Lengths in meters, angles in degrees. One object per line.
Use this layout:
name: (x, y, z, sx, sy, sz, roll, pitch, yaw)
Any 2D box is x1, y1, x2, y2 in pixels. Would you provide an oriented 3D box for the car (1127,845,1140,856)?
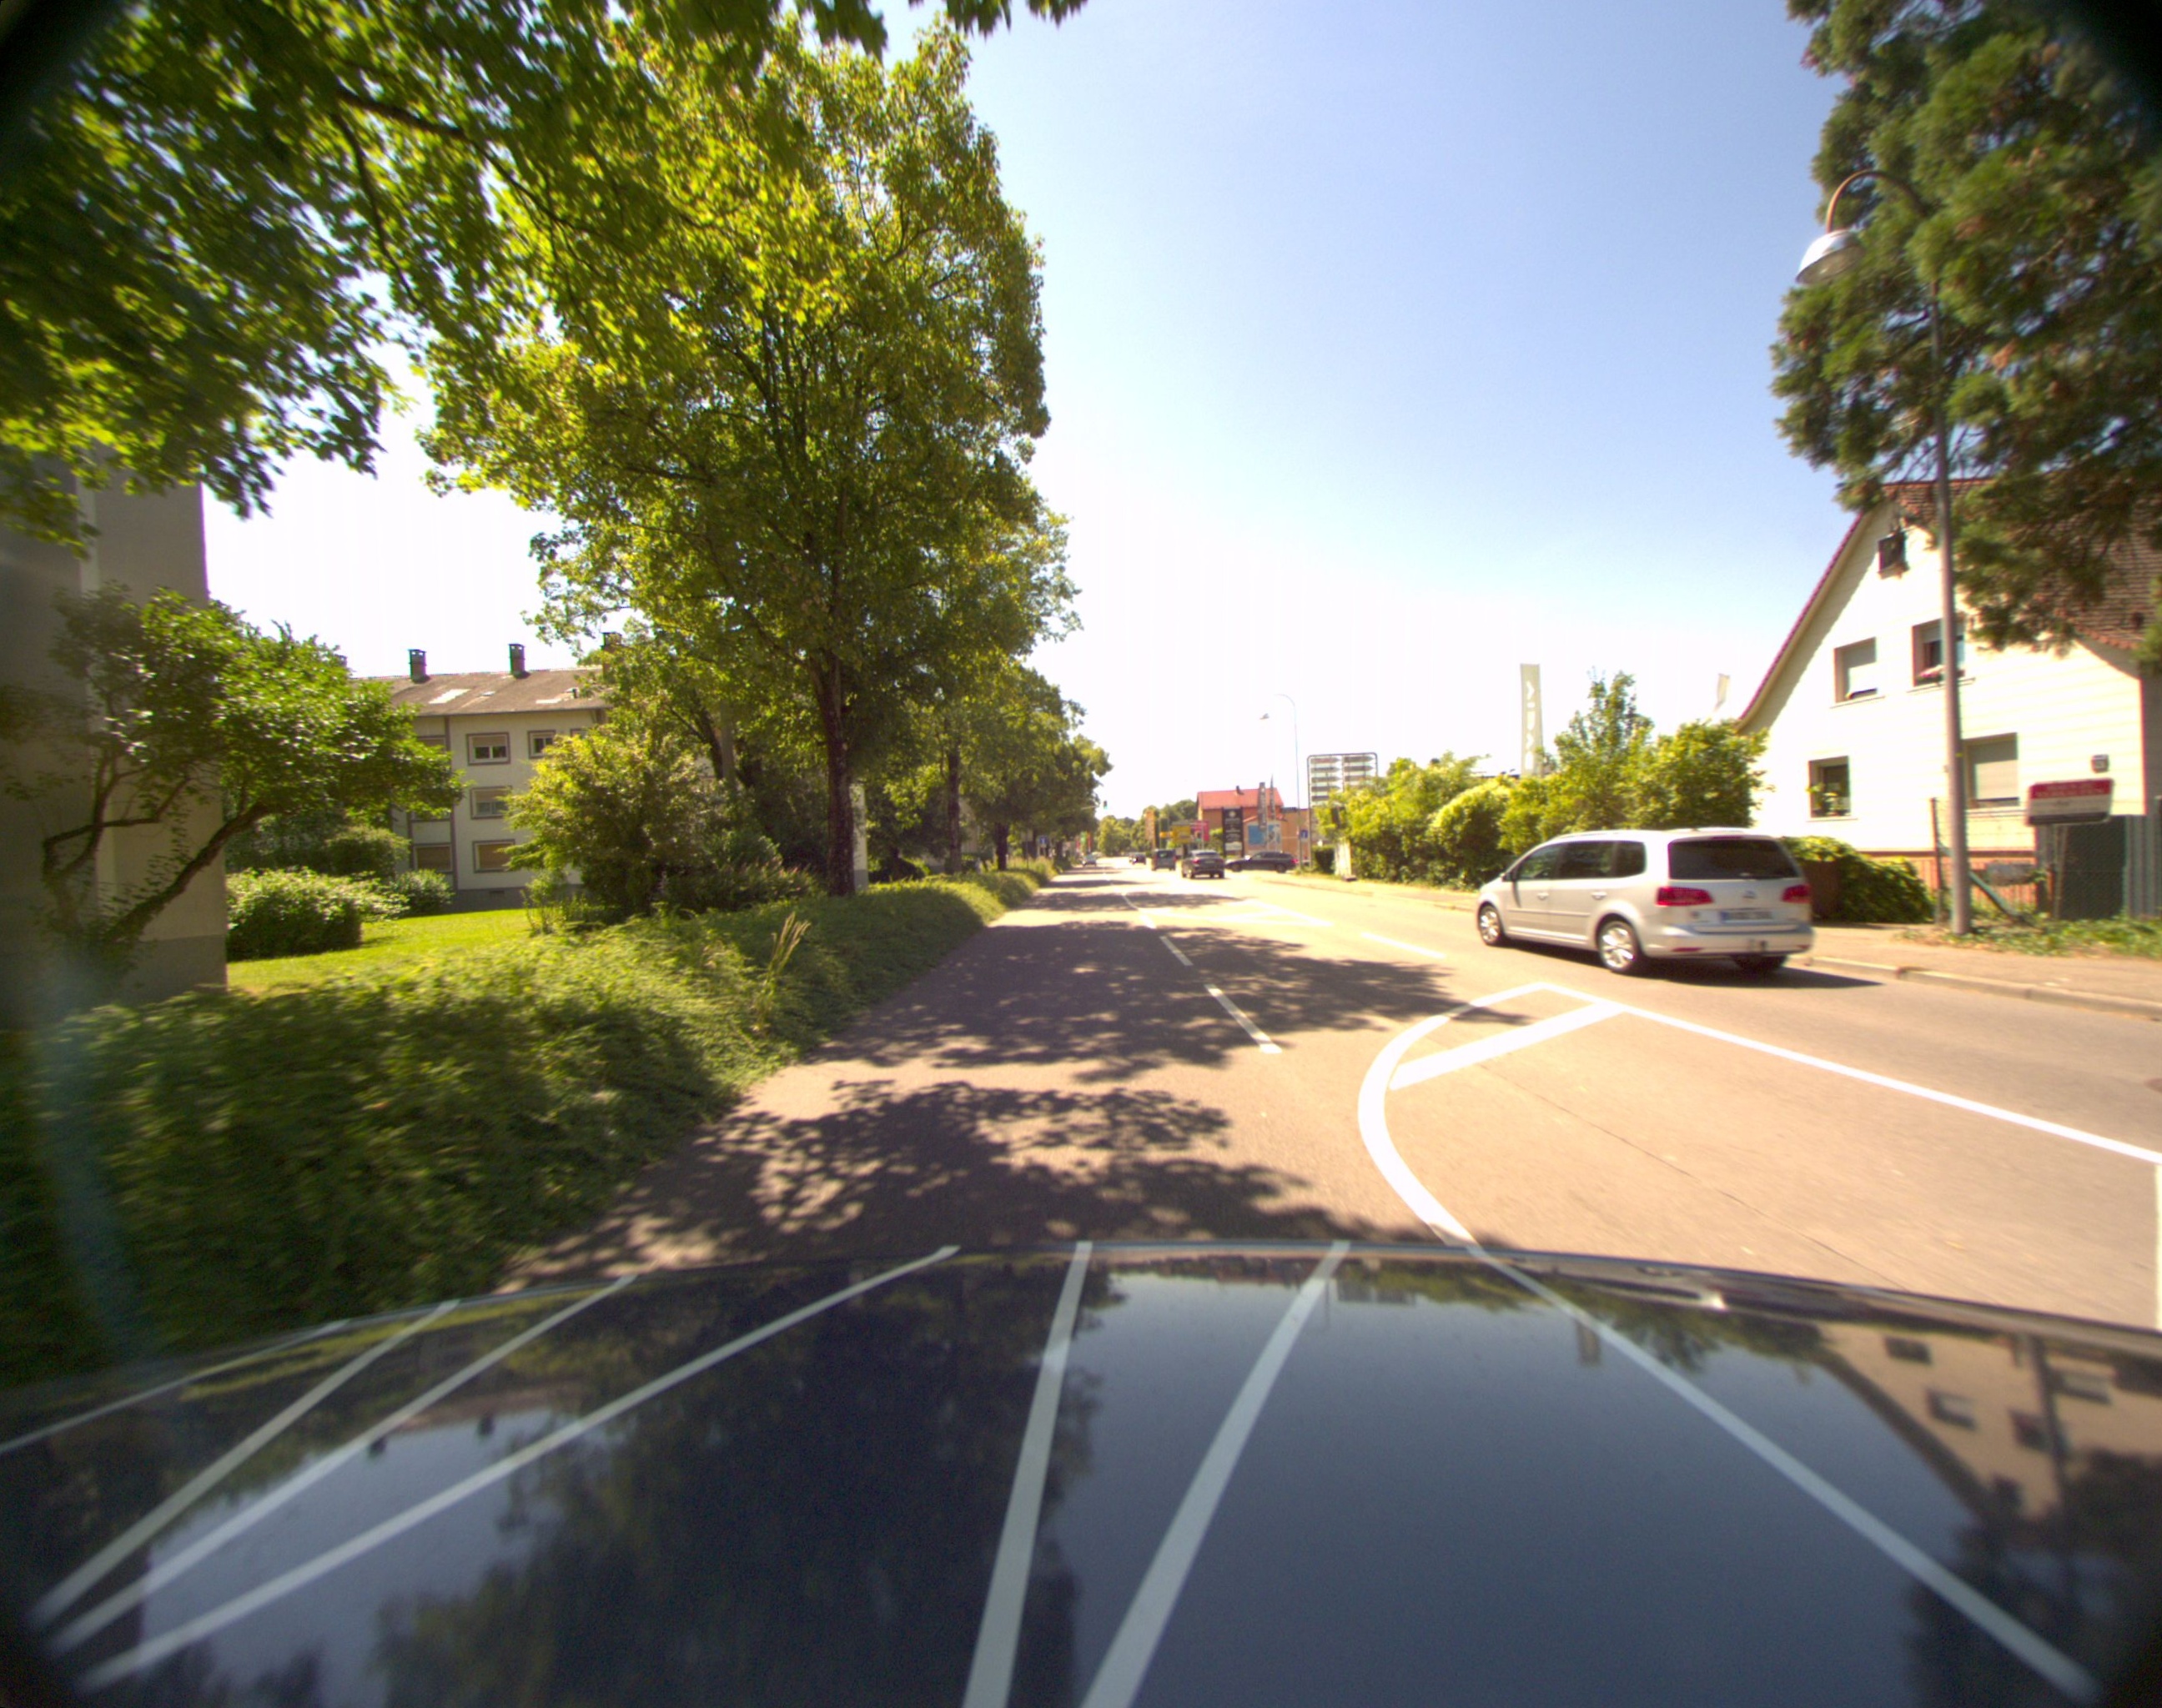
car: (8.209, -0.557, 118.744, 1.884, 1.623, 4.321, -2, 1, 2)

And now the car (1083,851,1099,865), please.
car: (1.251, 0.482, 93.410, 1.884, 1.623, 4.321, -2, 1, 2)

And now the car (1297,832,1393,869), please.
car: (17.606, -0.249, 50.865, 5.708, 2.117, 2.176, -3, 1, 9)

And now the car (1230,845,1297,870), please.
car: (12.506, 0.255, 52.017, 4.312, 1.540, 1.887, -2, 1, 18)

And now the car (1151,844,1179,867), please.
car: (6.859, 0.120, 62.091, 1.884, 1.731, 4.321, -2, 1, 2)

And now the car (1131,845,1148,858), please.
car: (7.440, -0.325, 97.056, 1.884, 1.623, 4.321, -2, 1, 2)

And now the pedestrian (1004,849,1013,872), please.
pedestrian: (-6.172, 0.574, 64.658, 0.677, 1.915, 0.621, -3, 1, 0)

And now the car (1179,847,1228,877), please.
car: (6.707, 0.400, 42.079, 1.884, 1.540, 4.320, -2, 1, -1)

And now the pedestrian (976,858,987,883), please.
pedestrian: (-7.691, 1.270, 58.971, 0.677, 1.915, 0.621, -3, 1, 0)

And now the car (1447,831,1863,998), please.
car: (6.843, 0.577, 9.902, 1.788, 1.635, 4.688, -1, 1, -2)
